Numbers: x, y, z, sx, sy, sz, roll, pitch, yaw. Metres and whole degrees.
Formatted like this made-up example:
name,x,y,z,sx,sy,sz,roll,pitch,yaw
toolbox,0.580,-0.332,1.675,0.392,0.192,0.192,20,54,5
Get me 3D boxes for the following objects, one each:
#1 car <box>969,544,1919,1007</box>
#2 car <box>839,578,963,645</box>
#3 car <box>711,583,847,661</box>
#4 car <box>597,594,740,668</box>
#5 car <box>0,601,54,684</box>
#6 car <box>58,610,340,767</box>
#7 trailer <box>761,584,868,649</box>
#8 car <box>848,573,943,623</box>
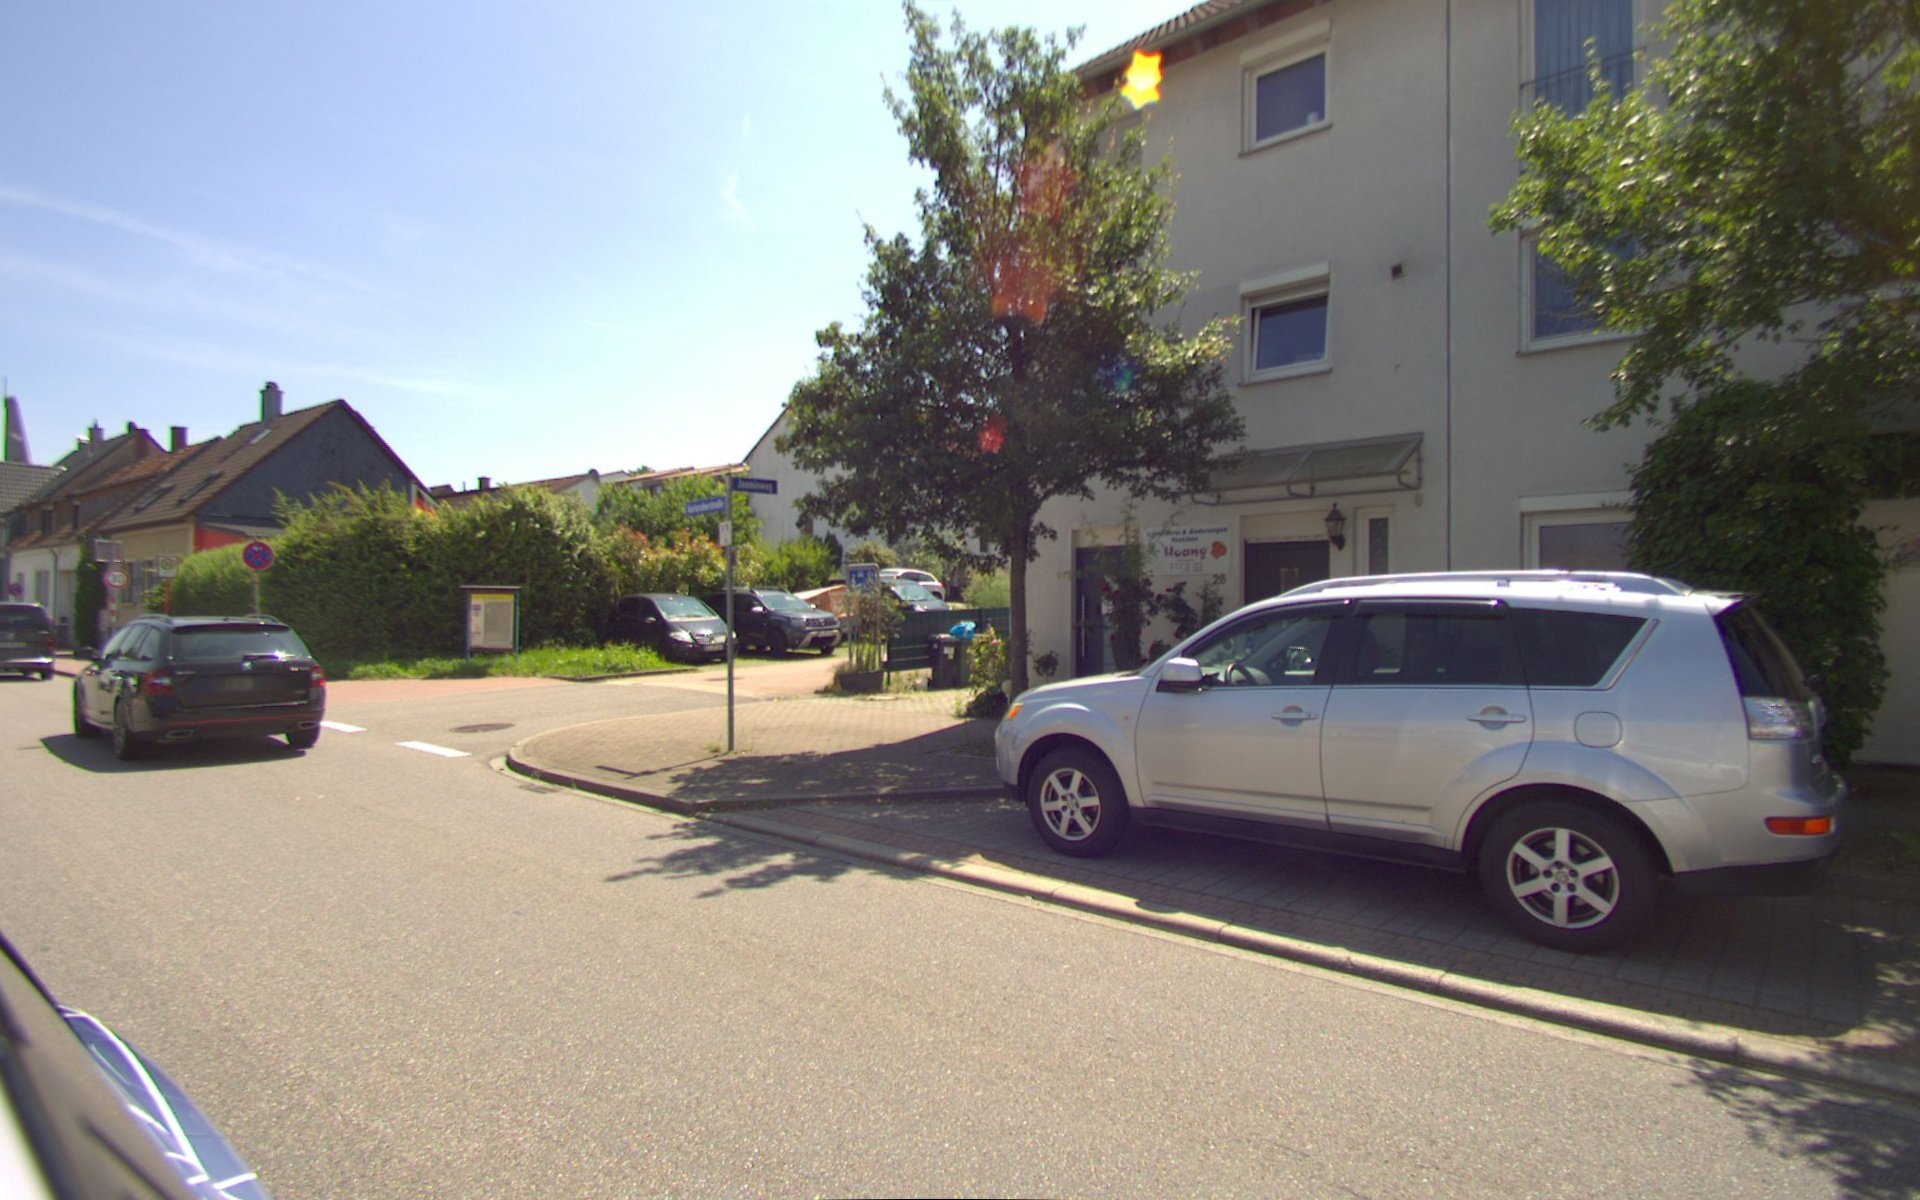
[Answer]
name,x,y,z,sx,sy,sz,roll,pitch,yaw
car,2.324,0.673,5.838,4.522,1.699,1.689,-1,-1,40
car,-1.762,0.313,29.449,3.552,1.794,1.605,-1,1,44
car,-4.597,0.505,25.460,3.511,1.793,1.605,-1,1,44
car,-6.911,0.680,23.855,3.653,1.552,1.605,-1,1,44
car,-23.401,0.991,24.464,4.462,1.869,1.638,-1,-3,41
car,-8.720,0.879,11.460,4.253,1.458,1.701,-1,-3,41
trailer,-4.079,0.453,28.288,2.688,1.676,1.413,-1,2,37
car,-2.329,-0.095,37.166,1.419,1.747,3.594,0,1,38
